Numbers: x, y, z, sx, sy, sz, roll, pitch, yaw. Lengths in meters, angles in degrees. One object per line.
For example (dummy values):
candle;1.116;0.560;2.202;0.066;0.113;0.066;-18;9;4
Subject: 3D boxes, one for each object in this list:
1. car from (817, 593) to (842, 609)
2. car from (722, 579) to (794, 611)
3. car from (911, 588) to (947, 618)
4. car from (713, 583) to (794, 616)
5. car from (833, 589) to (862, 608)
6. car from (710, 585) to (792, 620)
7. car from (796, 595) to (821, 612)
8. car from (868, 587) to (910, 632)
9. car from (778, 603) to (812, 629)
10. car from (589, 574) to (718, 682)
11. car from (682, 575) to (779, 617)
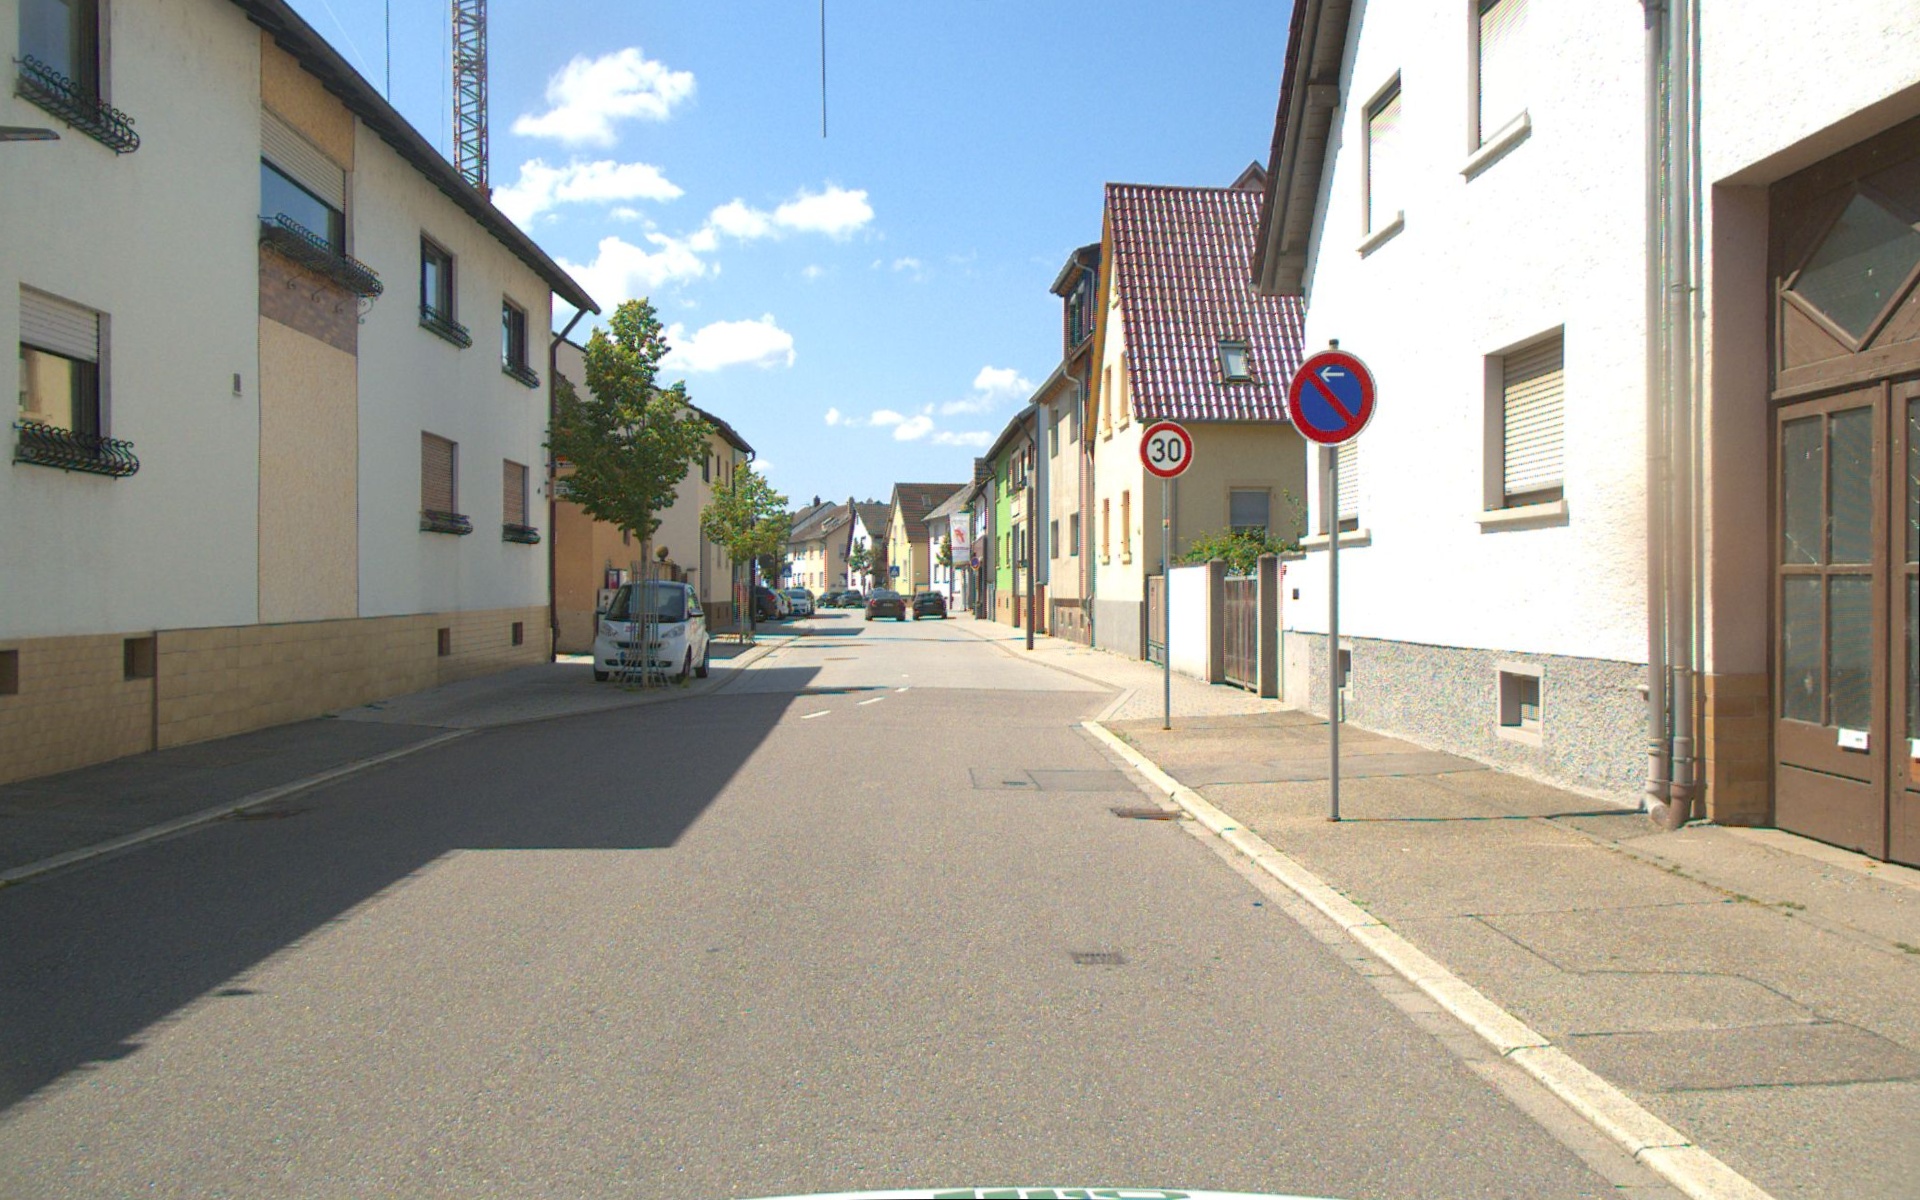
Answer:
car;-11.874;0.078;150.778;1.682;1.411;3.691;-1;1;-15
car;-10.730;-0.290;87.908;3.618;1.552;1.672;2;0;-2
car;-1.639;0.153;87.280;1.820;1.484;4.585;-2;0;-1
car;-10.561;-0.032;84.799;3.908;1.467;1.690;3;0;-3
car;-9.777;-0.141;143.315;1.815;1.590;3.679;-1;0;-15
car;-10.415;0.115;82.537;3.822;1.528;1.750;2;0;-2
car;-15.009;0.359;163.942;1.846;1.619;3.985;-1;0;-15
car;-3.486;0.426;80.891;1.954;2.094;4.371;-1;0;-3
car;-9.571;0.919;96.236;1.722;1.435;3.876;2;0;-3
car;-4.884;0.428;26.620;1.540;1.588;2.821;2;0;-1
car;-10.320;-0.180;74.564;4.135;1.687;1.783;2;0;-4
